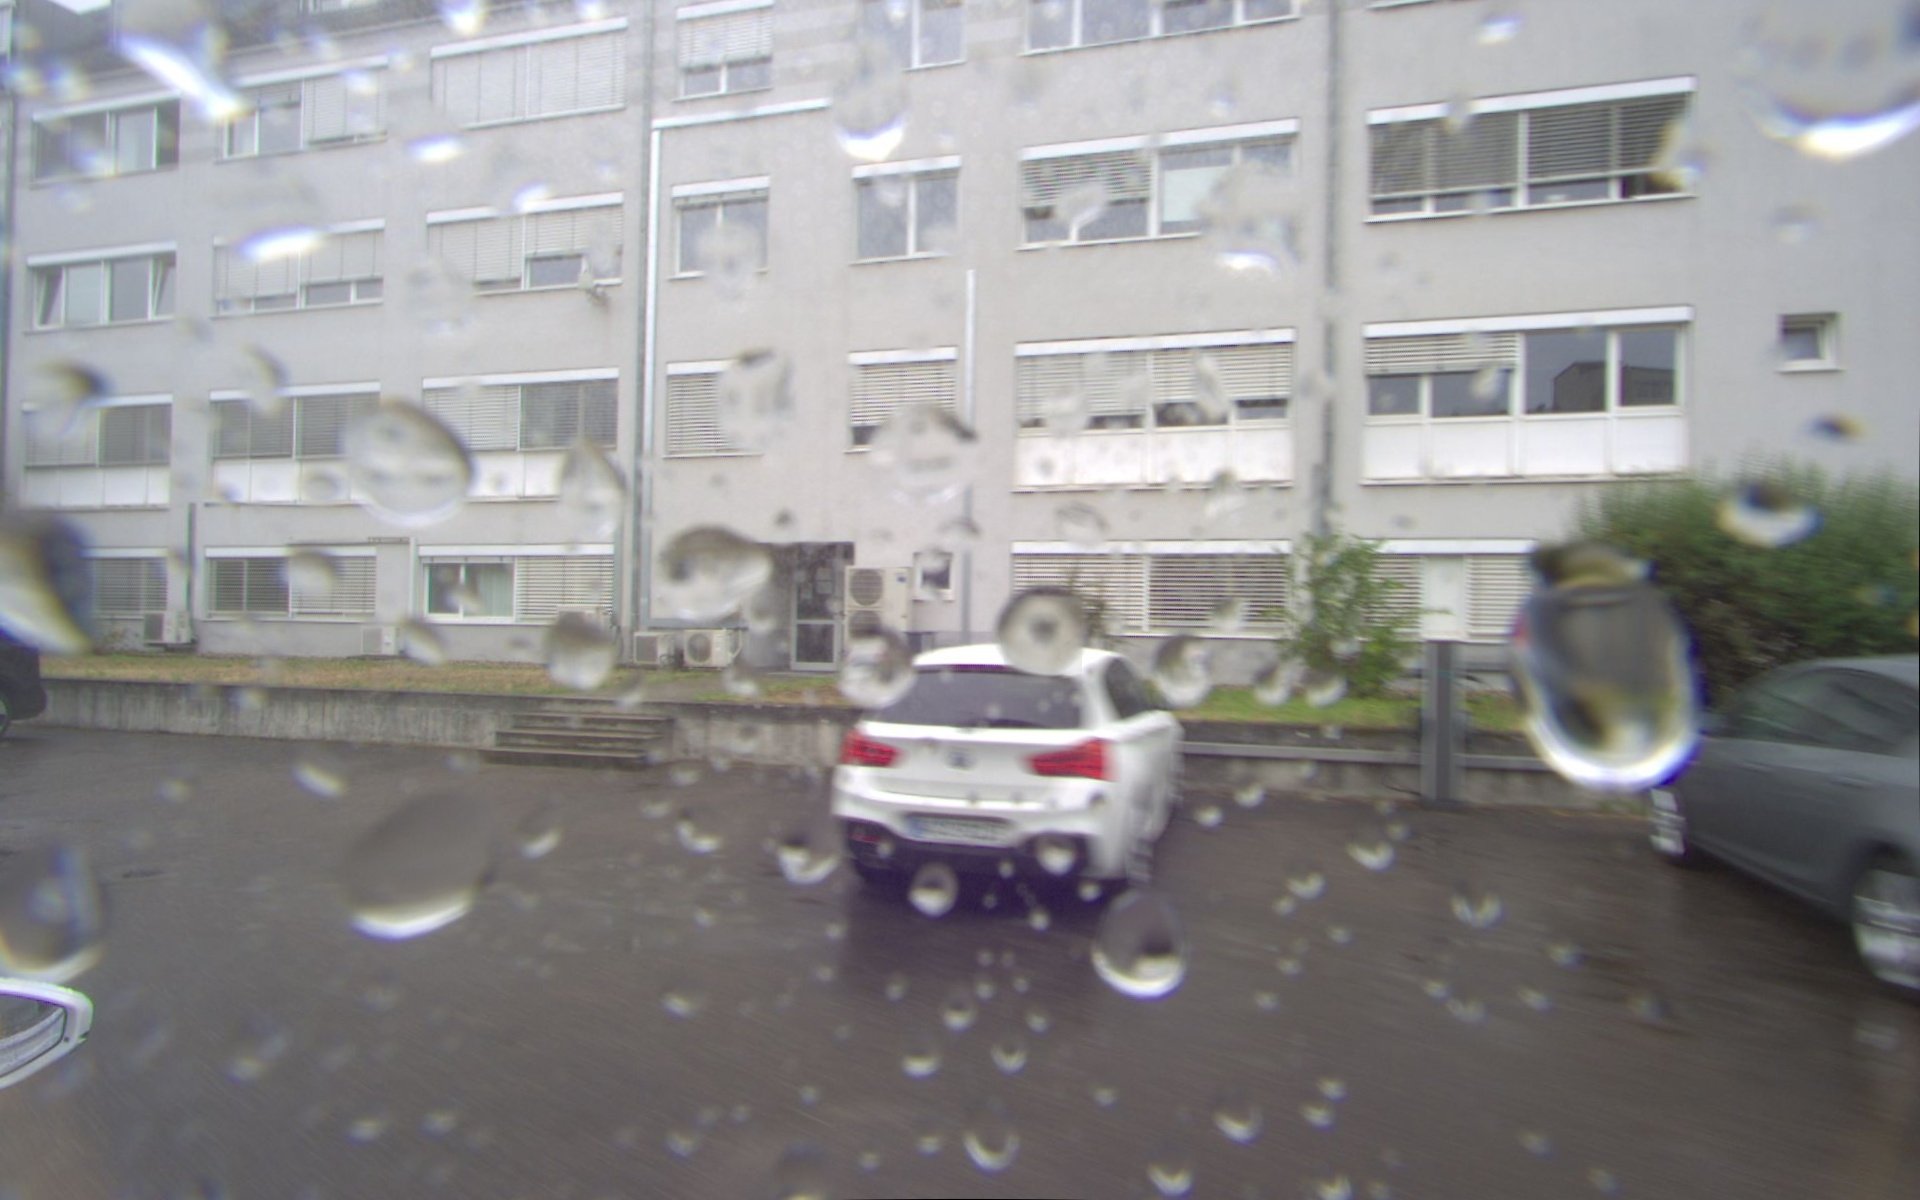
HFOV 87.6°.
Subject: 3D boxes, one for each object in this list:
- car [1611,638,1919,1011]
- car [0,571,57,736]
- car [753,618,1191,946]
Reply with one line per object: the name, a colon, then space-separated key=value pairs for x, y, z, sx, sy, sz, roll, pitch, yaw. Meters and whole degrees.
car: x=5.326 y=1.011 z=5.355 sx=1.964 sy=1.508 sz=4.218 roll=2 pitch=-2 yaw=17
car: x=-12.595 y=0.556 z=10.319 sx=2.008 sy=1.921 sz=4.521 roll=0 pitch=-2 yaw=13
car: x=0.465 y=0.978 z=7.121 sx=1.964 sy=1.508 sz=4.218 roll=2 pitch=-2 yaw=17
